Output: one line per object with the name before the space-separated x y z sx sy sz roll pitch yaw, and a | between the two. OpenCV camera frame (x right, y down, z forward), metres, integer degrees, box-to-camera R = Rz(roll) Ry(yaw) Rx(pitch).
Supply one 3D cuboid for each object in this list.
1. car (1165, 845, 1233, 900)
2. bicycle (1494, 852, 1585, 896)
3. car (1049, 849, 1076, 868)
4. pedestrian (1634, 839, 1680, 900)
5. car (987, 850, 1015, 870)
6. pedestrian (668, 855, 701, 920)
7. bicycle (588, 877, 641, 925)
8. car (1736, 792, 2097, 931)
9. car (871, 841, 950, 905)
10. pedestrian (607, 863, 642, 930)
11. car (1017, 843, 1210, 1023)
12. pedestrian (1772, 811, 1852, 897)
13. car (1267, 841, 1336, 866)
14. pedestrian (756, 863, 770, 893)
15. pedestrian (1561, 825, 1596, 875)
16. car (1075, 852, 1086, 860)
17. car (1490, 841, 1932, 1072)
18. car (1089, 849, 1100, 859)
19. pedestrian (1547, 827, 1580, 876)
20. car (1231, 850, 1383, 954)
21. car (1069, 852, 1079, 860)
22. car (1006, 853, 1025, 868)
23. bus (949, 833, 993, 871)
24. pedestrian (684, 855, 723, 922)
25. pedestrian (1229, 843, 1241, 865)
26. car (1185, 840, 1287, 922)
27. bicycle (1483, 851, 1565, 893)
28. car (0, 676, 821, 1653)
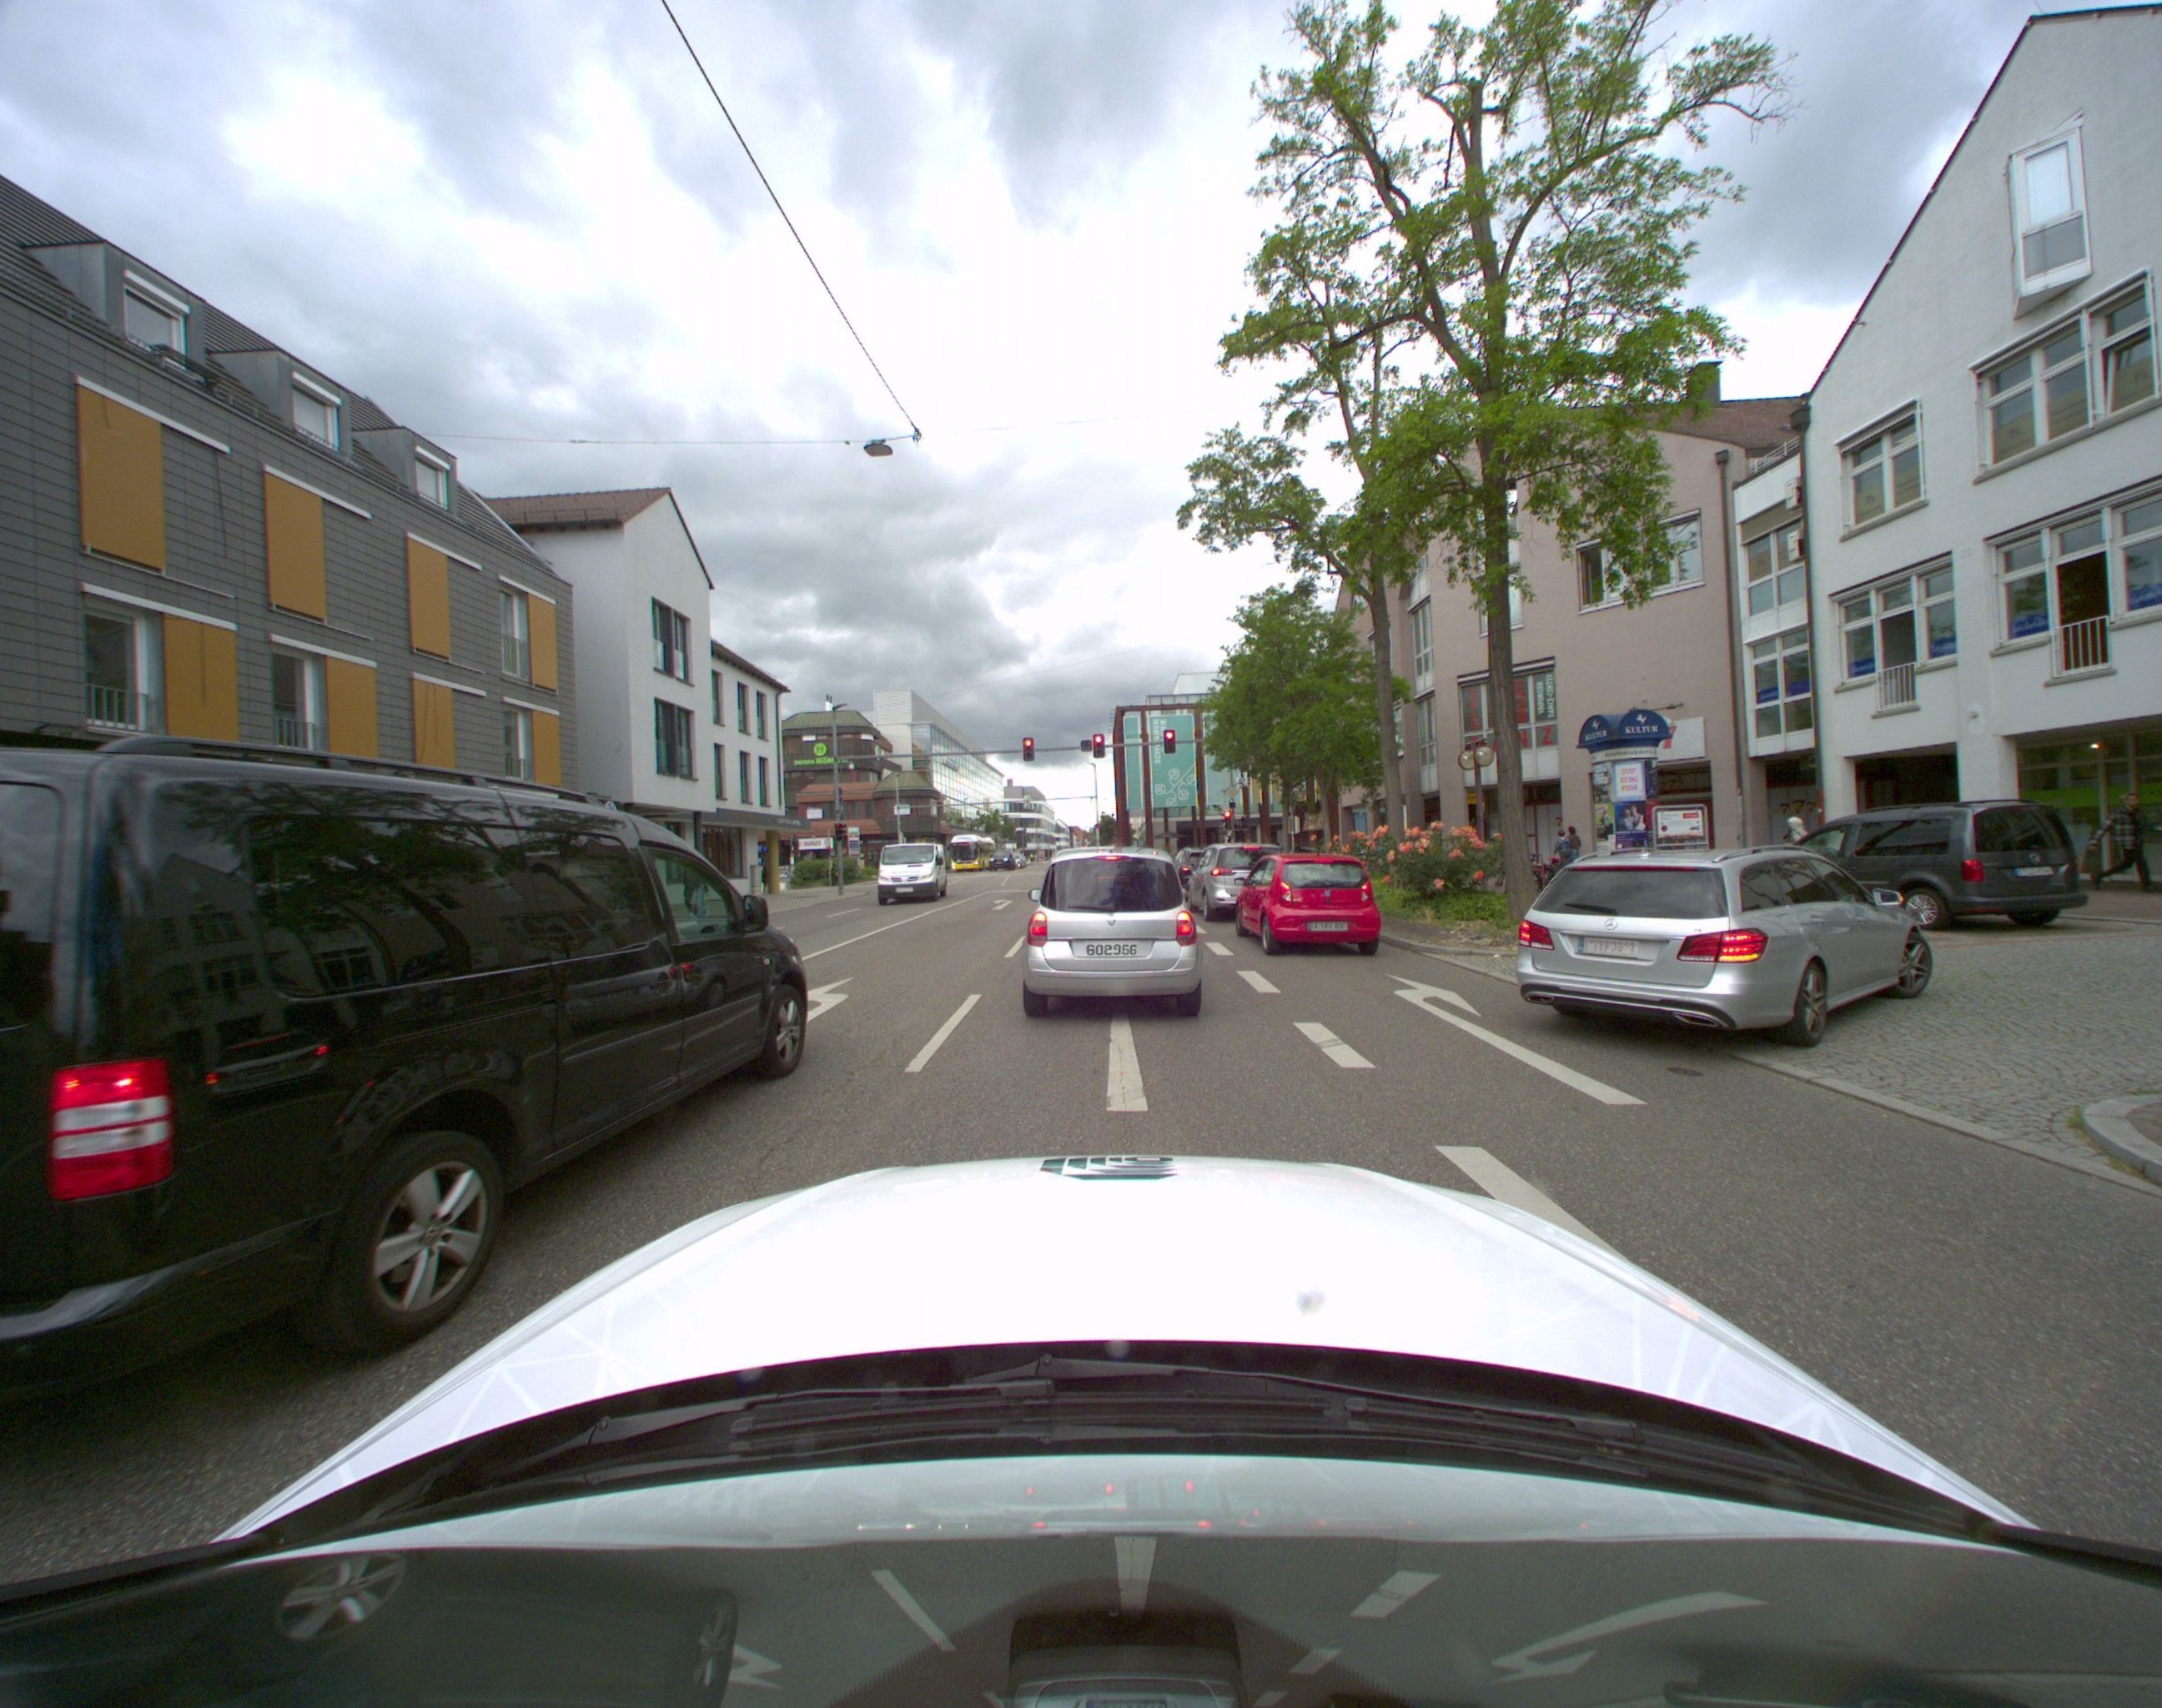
car | 3.618 0.520 25.480 1.581 1.595 3.868 0 0 0
bicycle | 11.293 0.484 20.091 1.892 0.997 0.468 -2 0 5
car | -1.704 0.389 75.318 1.907 1.677 4.250 -2 0 6
pedestrian | 17.497 0.449 24.749 0.786 1.793 0.819 -2 0 1
car | -7.124 0.531 73.039 1.987 1.706 4.065 -2 0 0
pedestrian | -11.140 0.932 22.883 0.567 1.775 0.646 -2 0 -2
bicycle | -12.777 1.254 22.373 0.385 1.186 1.825 -2 0 -1
car | 13.100 0.089 13.186 1.633 1.831 3.963 -3 0 -3
car | -5.766 0.599 28.118 1.991 1.888 5.148 -3 0 -5
pedestrian | -11.666 1.078 20.813 0.654 1.650 0.555 -2 0 -22
car | 0.325 0.674 8.719 1.634 1.527 3.395 -1 0 1
pedestrian | 14.858 -0.001 16.574 0.786 1.659 0.819 -4 0 1
car | 13.637 -0.045 50.502 3.816 1.389 1.685 -2 0 2
pedestrian | -17.750 1.338 45.435 0.664 1.649 0.788 -2 0 -20
pedestrian | 15.822 -0.138 25.912 0.665 1.563 0.618 -2 0 -20
car | -0.065 0.336 157.901 1.793 1.540 4.068 -2 0 3
car | 5.802 0.659 7.343 4.386 1.448 1.802 -2 1 -33
car | 2.766 -0.012 167.648 1.987 1.949 4.951 -2 0 1
pedestrian | 15.193 -0.080 25.646 0.611 1.515 0.618 -2 0 -20
car | 3.446 0.658 12.973 1.581 1.443 3.350 0 0 2
car | -1.486 0.460 174.998 1.793 1.540 4.068 -2 0 3
car | -6.439 0.633 80.608 1.550 1.392 3.288 -2 0 0
bus | -10.120 -0.198 75.837 2.678 3.261 8.654 -2 0 1
pedestrian | -10.455 0.951 22.557 0.679 1.790 0.649 -2 0 2
pedestrian | 11.495 0.006 60.654 0.652 1.650 0.557 -2 0 -13
car | 3.378 0.536 18.415 1.581 1.634 3.916 0 0 0
bicycle | 11.209 0.450 20.648 1.760 0.997 0.447 -2 0 5
car | -2.890 0.585 3.852 1.738 1.855 4.634 -1 0 1
